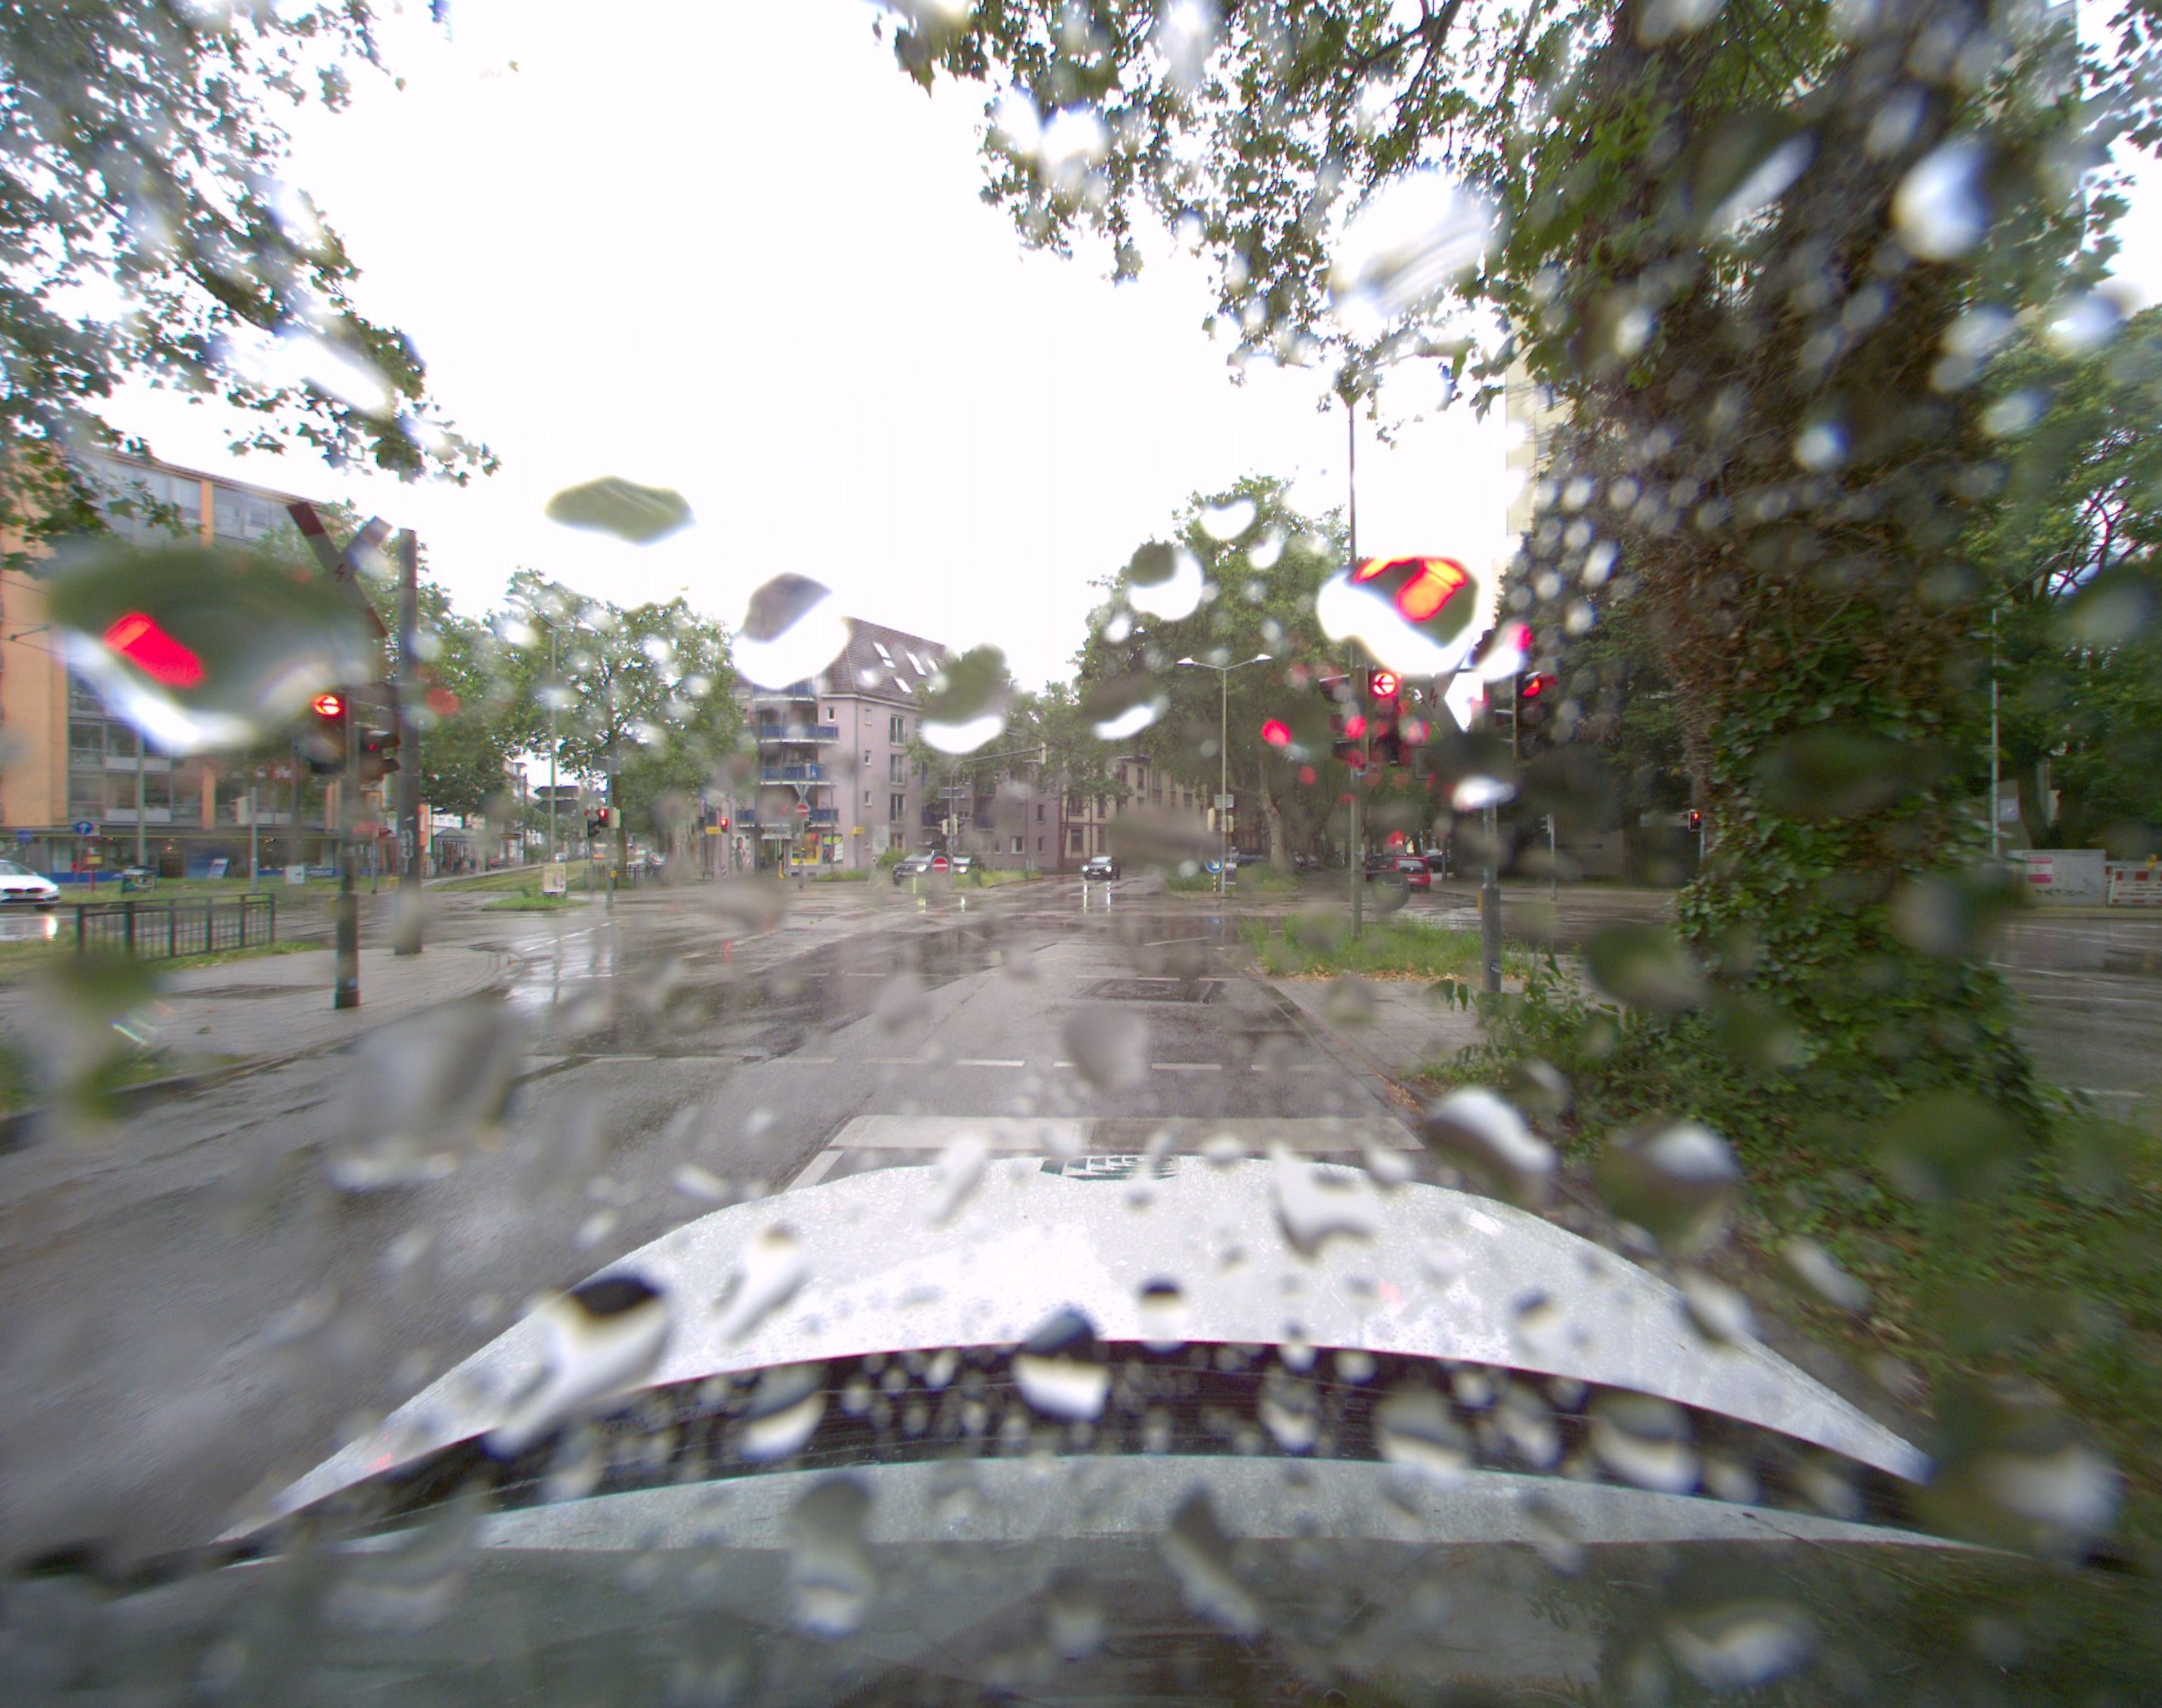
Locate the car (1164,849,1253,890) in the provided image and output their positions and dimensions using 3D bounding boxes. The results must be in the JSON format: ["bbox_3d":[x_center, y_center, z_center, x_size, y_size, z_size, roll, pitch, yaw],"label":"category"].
[{"bbox_3d":[5.222,0.635,33.272,3.457,1.523,1.524,-2,0,10],"label":"car"}]

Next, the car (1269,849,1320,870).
[{"bbox_3d":[17.194,0.438,65.523,3.571,1.618,1.692,-2,0,30],"label":"car"}]

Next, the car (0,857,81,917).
[{"bbox_3d":[-32.120,0.993,23.870,3.978,1.651,1.980,-2,0,14],"label":"car"}]

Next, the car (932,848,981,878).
[{"bbox_3d":[-6.932,0.469,45.661,1.715,1.552,3.568,-2,0,8],"label":"car"}]

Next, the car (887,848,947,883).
[{"bbox_3d":[-7.857,0.539,39.408,1.715,1.552,3.568,-2,0,8],"label":"car"}]

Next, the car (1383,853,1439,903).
[{"bbox_3d":[14.743,1.017,36.571,1.977,2.013,4.019,-2,0,18],"label":"car"}]

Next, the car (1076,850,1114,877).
[{"bbox_3d":[0.920,0.558,50.619,1.591,1.552,3.572,-2,0,13],"label":"car"}]

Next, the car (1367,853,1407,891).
[{"bbox_3d":[17.830,0.998,47.642,1.977,2.013,4.019,-2,0,18],"label":"car"}]

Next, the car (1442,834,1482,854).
[{"bbox_3d":[42.764,-1.113,91.505,3.953,2.013,1.716,-2,0,21],"label":"car"}]

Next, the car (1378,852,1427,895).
[{"bbox_3d":[16.189,0.940,41.185,1.977,2.013,4.019,-2,0,18],"label":"car"}]
